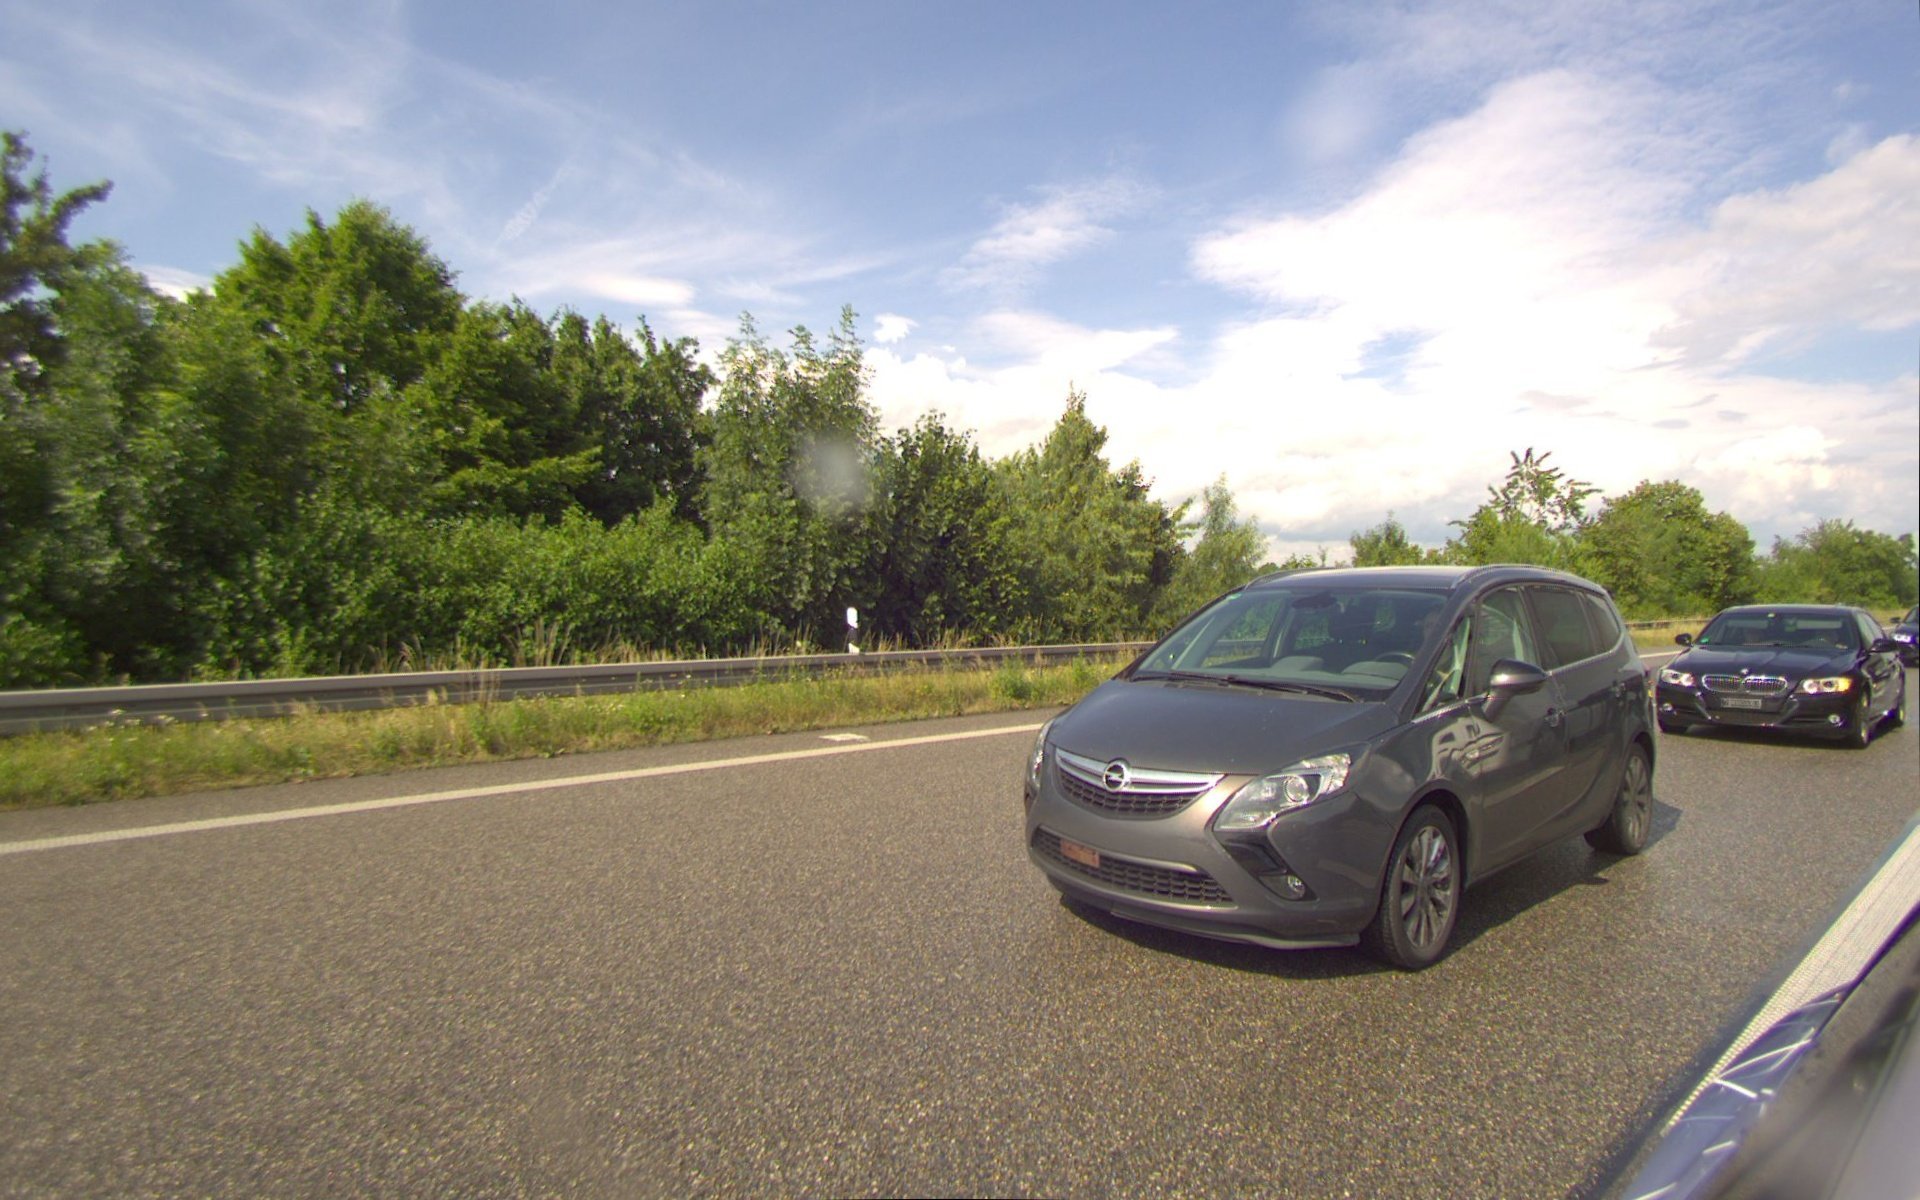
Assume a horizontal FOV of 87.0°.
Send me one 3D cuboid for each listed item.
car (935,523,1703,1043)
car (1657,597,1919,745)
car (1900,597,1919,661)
[{"bbox_3d":[2.241,0.564,5.452,4.652,1.652,1.857,0,0,-41],"label":"car"},{"bbox_3d":[9.412,0.662,11.364,3.816,1.371,1.721,0,0,-41],"label":"car"},{"bbox_3d":[22.421,0.625,22.763,3.935,1.382,1.740,0,1,-45],"label":"car"}]
